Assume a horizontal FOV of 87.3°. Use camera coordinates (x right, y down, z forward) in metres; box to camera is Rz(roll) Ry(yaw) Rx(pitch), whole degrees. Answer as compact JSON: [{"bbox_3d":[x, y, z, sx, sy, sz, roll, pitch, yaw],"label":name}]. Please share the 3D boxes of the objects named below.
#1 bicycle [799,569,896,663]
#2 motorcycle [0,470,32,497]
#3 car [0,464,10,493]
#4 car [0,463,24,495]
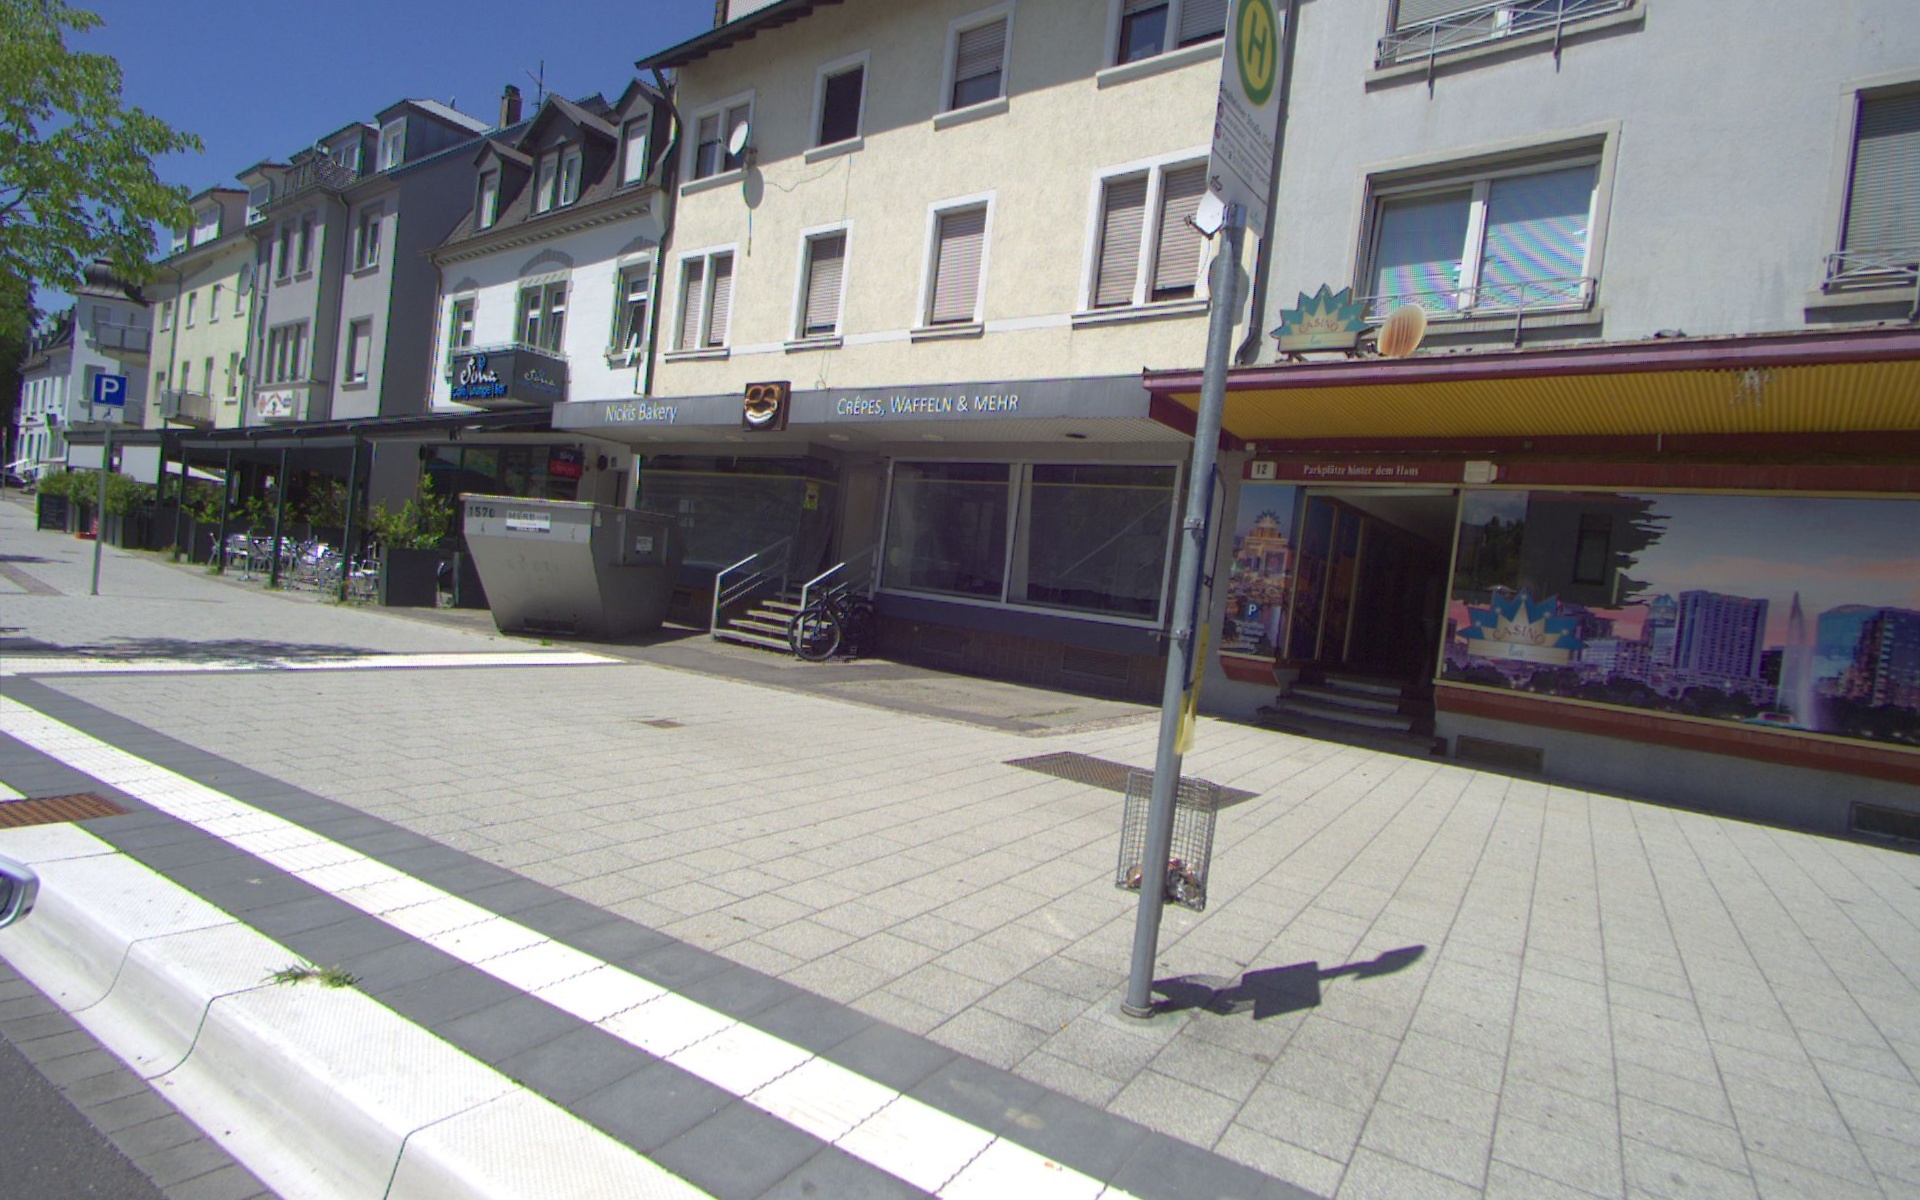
[{"bbox_3d":[-1.607,0.243,14.533,1.266,1.198,0.410,8,-1,-42],"label":"bicycle"},{"bbox_3d":[-54.960,-6.759,57.732,0.843,1.291,2.375,9,1,40],"label":"motorcycle"},{"bbox_3d":[-60.050,-7.660,60.399,1.829,1.736,4.074,8,-1,39],"label":"car"},{"bbox_3d":[-58.296,-7.446,59.437,1.829,1.736,4.074,8,-1,39],"label":"car"}]
